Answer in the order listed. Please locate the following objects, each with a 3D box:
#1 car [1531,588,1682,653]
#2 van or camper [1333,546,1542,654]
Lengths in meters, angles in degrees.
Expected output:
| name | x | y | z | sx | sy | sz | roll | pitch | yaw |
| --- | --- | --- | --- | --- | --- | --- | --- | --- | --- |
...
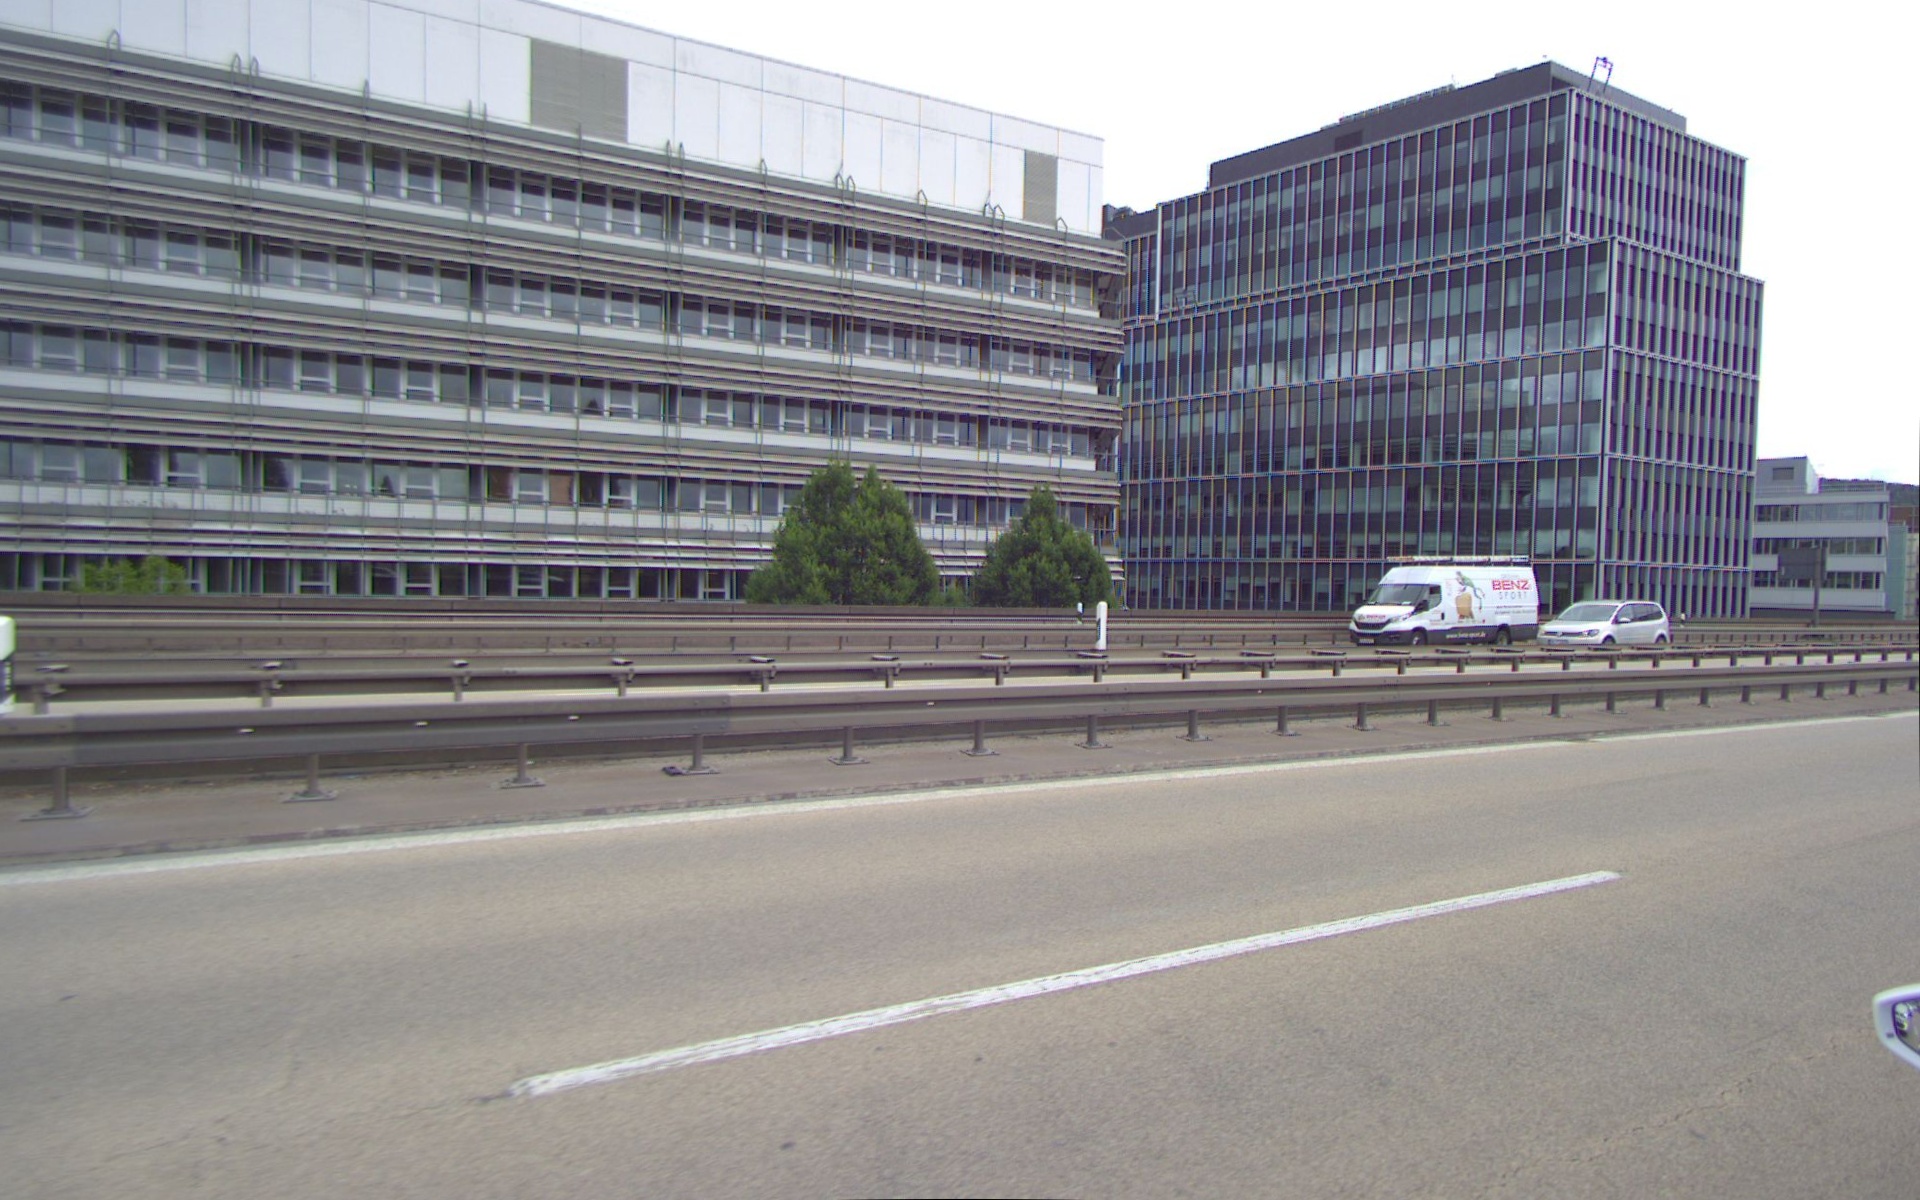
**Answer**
| name | x | y | z | sx | sy | sz | roll | pitch | yaw |
| --- | --- | --- | --- | --- | --- | --- | --- | --- | --- |
| car | 18.161 | 0.585 | 28.189 | 4.259 | 1.672 | 1.676 | 2 | 1 | -28 |
| van or camper | 14.834 | 0.053 | 31.042 | 7.031 | 3.048 | 2.161 | 1 | 0 | -29 |
